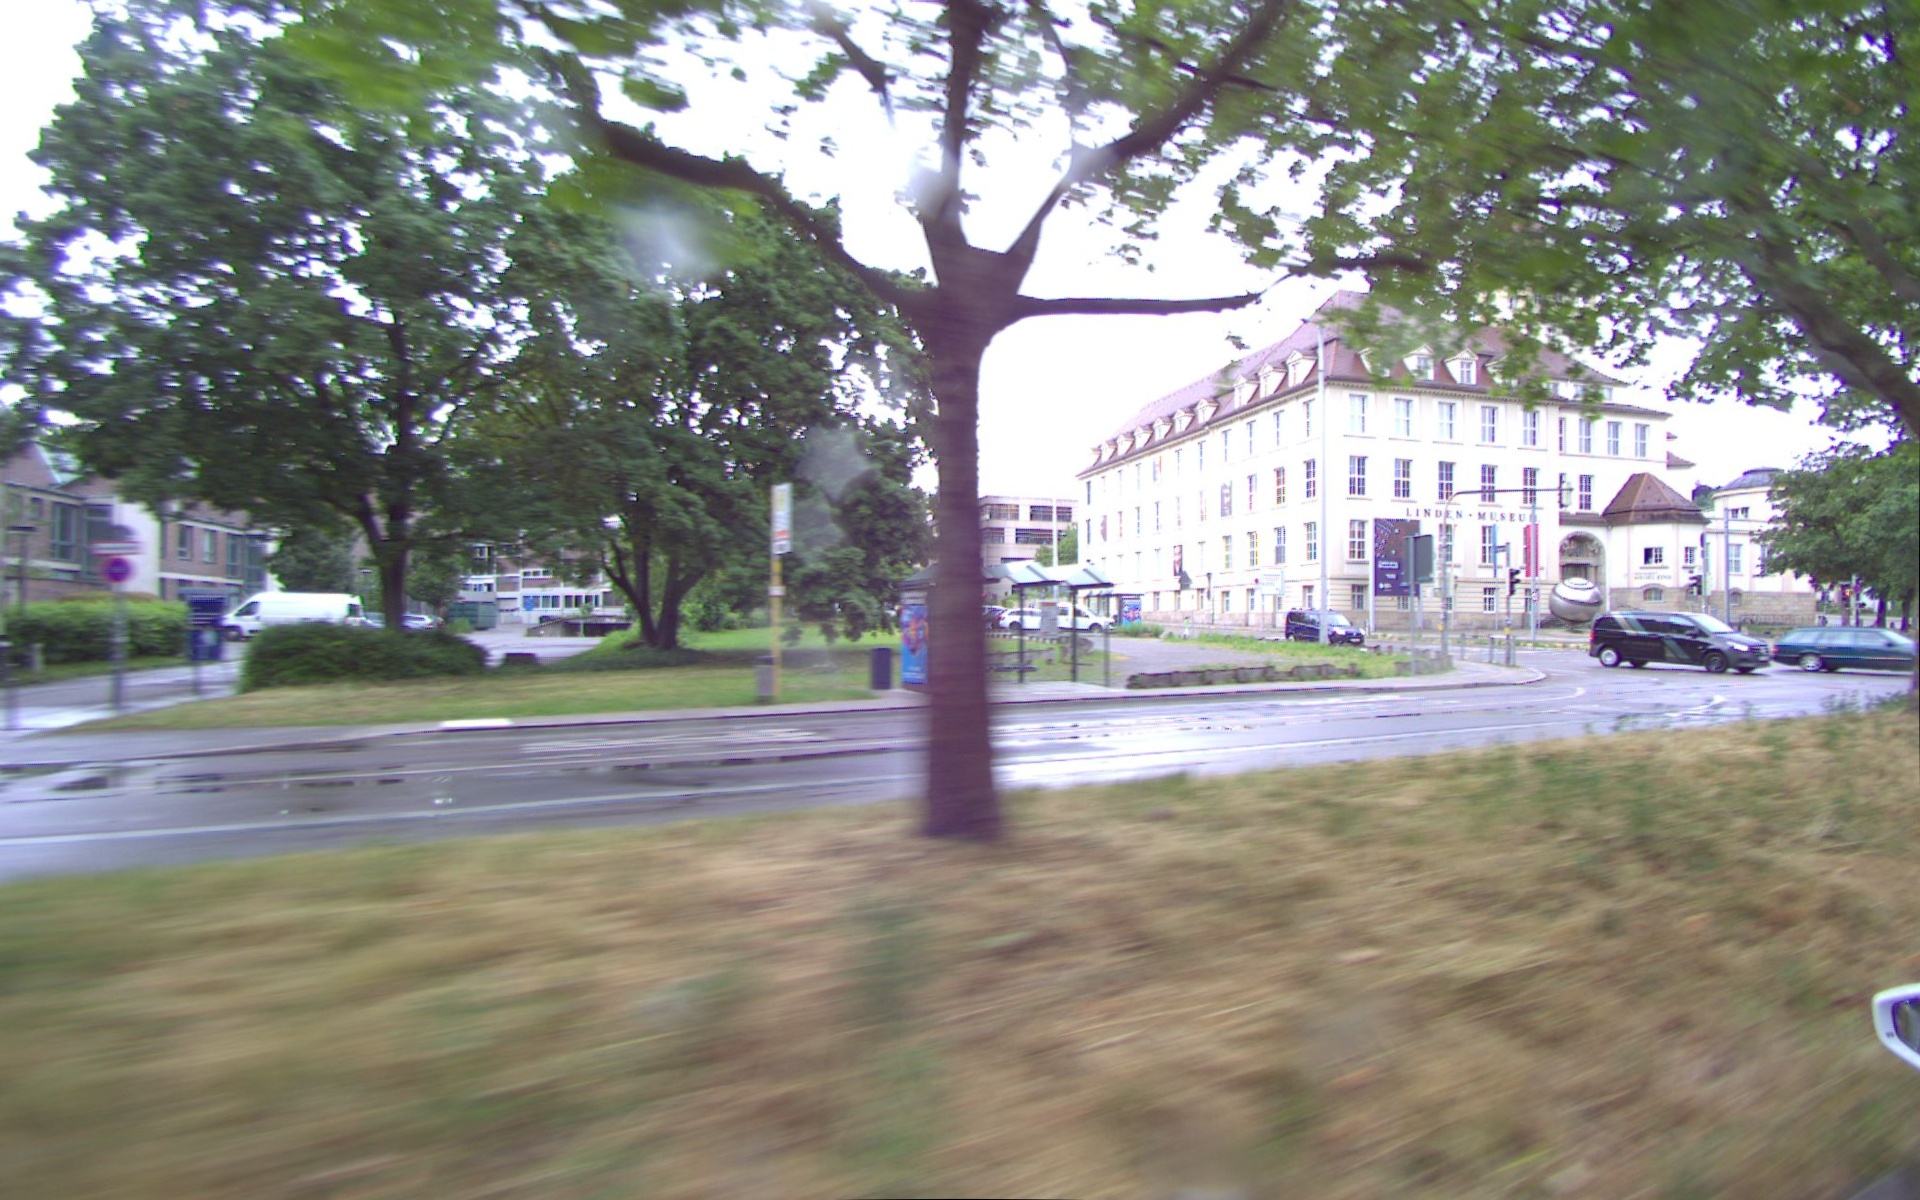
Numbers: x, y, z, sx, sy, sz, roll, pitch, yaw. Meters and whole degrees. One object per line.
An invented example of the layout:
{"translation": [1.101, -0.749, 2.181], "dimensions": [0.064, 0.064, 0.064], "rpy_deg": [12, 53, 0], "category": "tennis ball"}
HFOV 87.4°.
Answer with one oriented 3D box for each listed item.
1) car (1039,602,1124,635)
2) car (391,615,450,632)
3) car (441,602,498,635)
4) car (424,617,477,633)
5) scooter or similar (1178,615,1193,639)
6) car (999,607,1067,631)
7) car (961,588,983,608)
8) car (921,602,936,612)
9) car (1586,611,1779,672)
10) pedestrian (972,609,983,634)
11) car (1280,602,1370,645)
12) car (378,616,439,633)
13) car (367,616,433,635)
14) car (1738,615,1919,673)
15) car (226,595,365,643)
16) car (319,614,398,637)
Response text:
{"translation": [6.827, 1.054, 56.647], "dimensions": [4.422, 1.791, 1.832], "rpy_deg": [0, -1, 26], "category": "car"}
{"translation": [-39.769, 1.730, 74.102], "dimensions": [3.498, 1.158, 1.587], "rpy_deg": [2, 0, -16], "category": "car"}
{"translation": [-45.829, 1.653, 94.107], "dimensions": [3.539, 2.855, 6.445], "rpy_deg": [2, 0, -15], "category": "car"}
{"translation": [-41.314, 2.048, 81.528], "dimensions": [3.498, 1.158, 1.587], "rpy_deg": [2, 0, -16], "category": "car"}
{"translation": [11.366, 1.345, 50.561], "dimensions": [0.541, 1.182, 1.253], "rpy_deg": [2, 0, 22], "category": "scooter or similar"}
{"translation": [4.667, 1.211, 63.999], "dimensions": [3.994, 1.461, 1.854], "rpy_deg": [-1, -1, 18], "category": "car"}
{"translation": [1.622, -0.288, 136.757], "dimensions": [1.968, 2.652, 3.986], "rpy_deg": [2, 0, -17], "category": "car"}
{"translation": [-5.606, 1.223, 178.010], "dimensions": [1.814, 1.581, 3.987], "rpy_deg": [2, 1, -15], "category": "car"}
{"translation": [23.349, 1.297, 32.684], "dimensions": [1.974, 1.833, 4.756], "rpy_deg": [0, -1, -26], "category": "car"}
{"translation": [1.094, 1.320, 63.059], "dimensions": [0.557, 1.549, 0.670], "rpy_deg": [2, 0, -5], "category": "pedestrian"}
{"translation": [17.278, 1.090, 47.753], "dimensions": [1.770, 1.933, 4.292], "rpy_deg": [0, 0, -19], "category": "car"}
{"translation": [-39.181, 1.739, 71.381], "dimensions": [3.498, 1.158, 1.587], "rpy_deg": [1, 0, -16], "category": "car"}
{"translation": [-37.419, 1.717, 67.176], "dimensions": [3.498, 1.158, 1.587], "rpy_deg": [2, 0, -16], "category": "car"}
{"translation": [28.057, 1.360, 31.893], "dimensions": [1.976, 1.695, 4.932], "rpy_deg": [1, -2, -30], "category": "car"}
{"translation": [-33.333, 0.936, 50.570], "dimensions": [5.373, 2.242, 2.110], "rpy_deg": [2, 0, -13], "category": "car"}
{"translation": [-34.458, 1.458, 57.619], "dimensions": [3.498, 1.158, 1.685], "rpy_deg": [2, 0, -16], "category": "car"}
